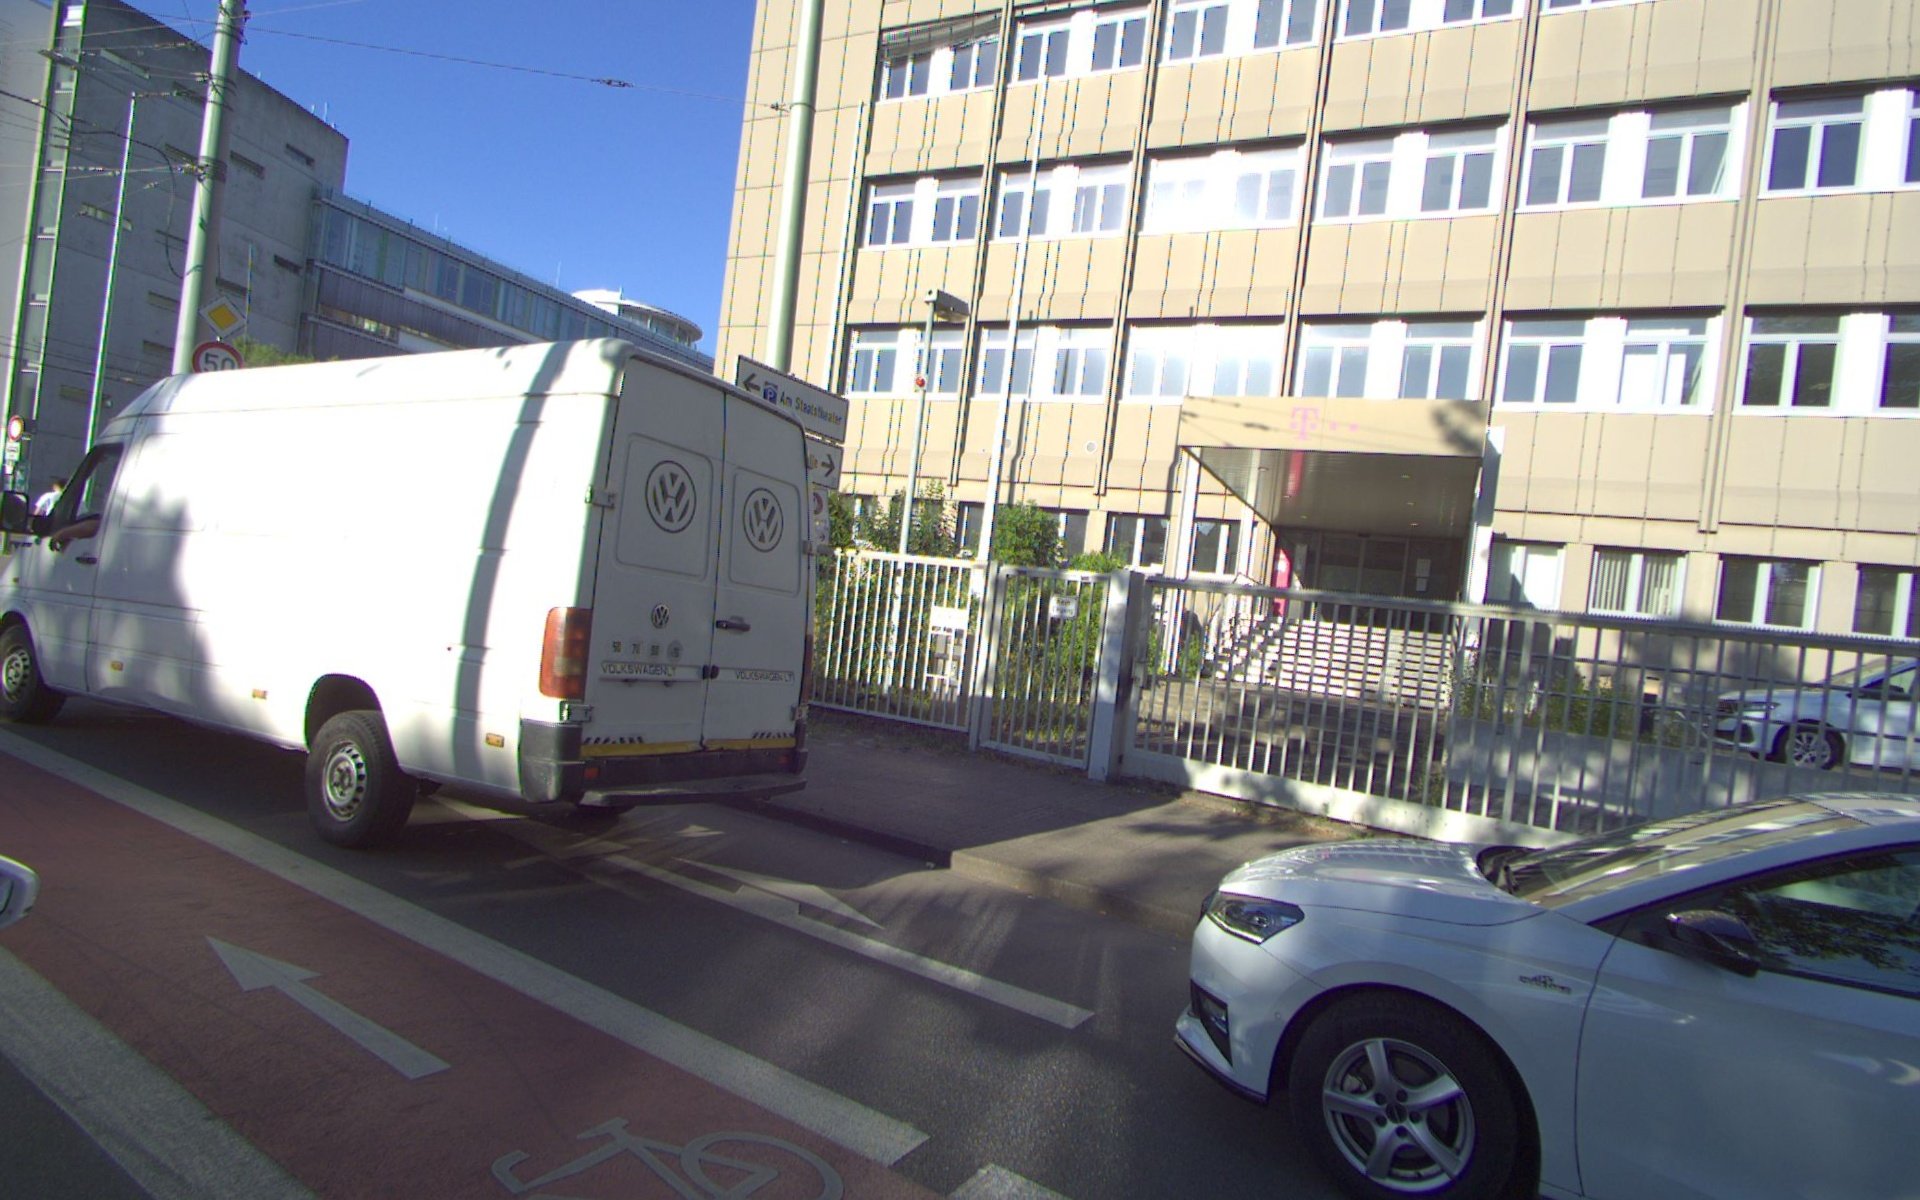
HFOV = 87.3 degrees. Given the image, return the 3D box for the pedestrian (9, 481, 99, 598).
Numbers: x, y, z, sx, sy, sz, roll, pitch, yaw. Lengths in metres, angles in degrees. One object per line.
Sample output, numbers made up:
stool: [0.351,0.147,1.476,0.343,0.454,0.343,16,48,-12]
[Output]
pedestrian: [-14.646,-0.970,16.266,0.759,1.770,0.787,7,1,32]

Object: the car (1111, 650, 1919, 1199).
car: [2.701,1.195,3.077,3.914,1.518,1.806,7,-1,30]

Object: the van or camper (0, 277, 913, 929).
van or camper: [-3.724,-0.201,6.697,6.236,2.764,2.276,7,-2,28]

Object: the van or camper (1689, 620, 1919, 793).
van or camper: [12.872,1.546,13.183,4.911,1.933,1.985,7,0,26]
